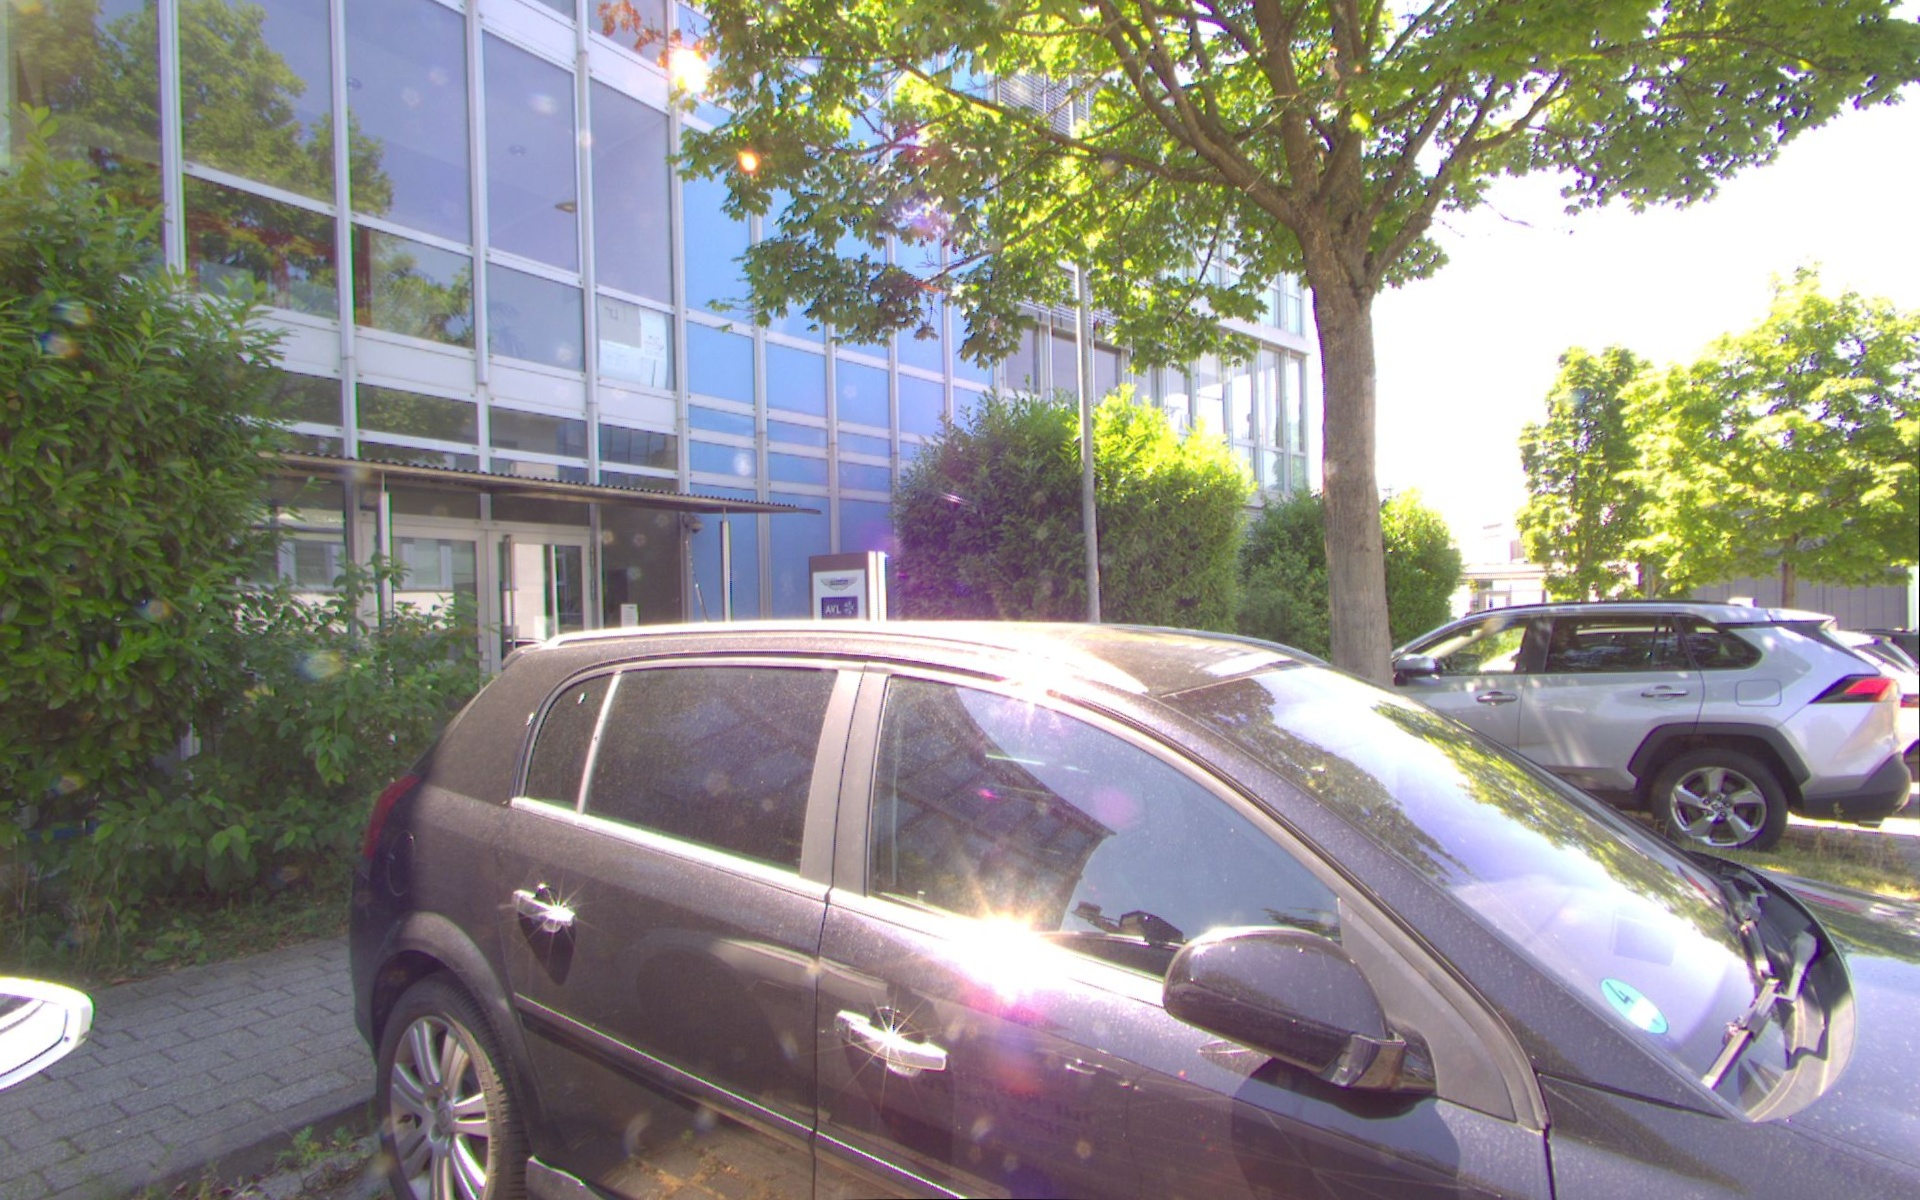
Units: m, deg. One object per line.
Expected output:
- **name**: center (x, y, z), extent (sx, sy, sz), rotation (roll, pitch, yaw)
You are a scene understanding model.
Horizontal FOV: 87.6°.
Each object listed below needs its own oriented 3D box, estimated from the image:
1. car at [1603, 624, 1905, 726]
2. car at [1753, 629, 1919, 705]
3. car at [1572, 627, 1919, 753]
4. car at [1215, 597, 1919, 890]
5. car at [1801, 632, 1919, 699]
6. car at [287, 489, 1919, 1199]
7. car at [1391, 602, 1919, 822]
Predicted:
- **car**: center (14.668, 1.295, 18.714), extent (1.641, 1.626, 4.145), rotation (1, -1, -38)
- **car**: center (20.193, 1.466, 22.386), extent (1.614, 1.545, 3.566), rotation (1, -1, -34)
- **car**: center (11.409, 1.193, 14.440), extent (1.645, 1.505, 4.136), rotation (2, -1, -44)
- **car**: center (4.379, 0.840, 7.779), extent (4.278, 1.664, 1.844), rotation (0, -1, 39)
- **car**: center (22.262, 1.528, 23.504), extent (1.614, 1.462, 3.566), rotation (1, -1, -34)
- **car**: center (0.460, 0.734, 2.146), extent (4.506, 1.569, 1.753), rotation (-1, -2, 36)
- **car**: center (6.453, 0.877, 9.392), extent (4.150, 1.664, 1.649), rotation (0, -1, 39)
